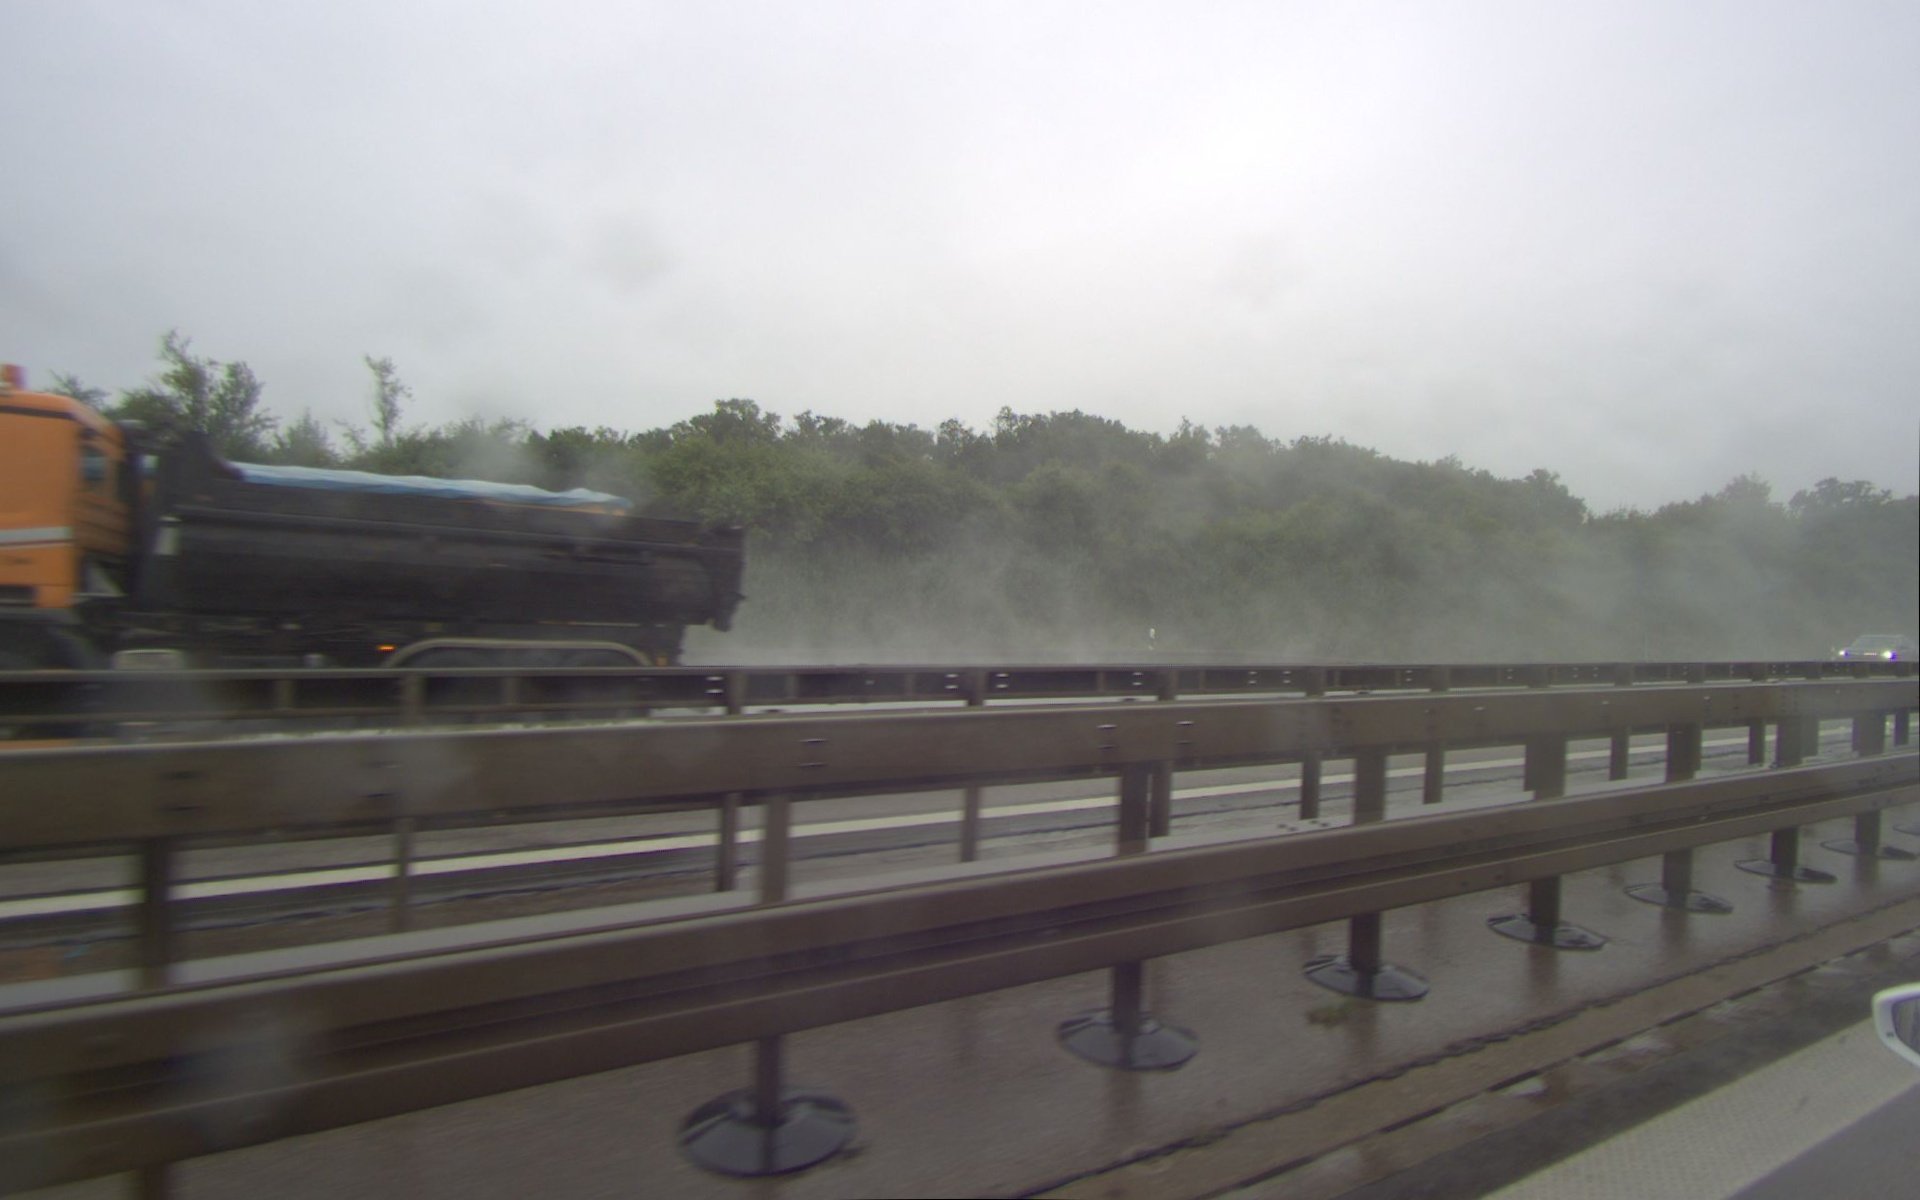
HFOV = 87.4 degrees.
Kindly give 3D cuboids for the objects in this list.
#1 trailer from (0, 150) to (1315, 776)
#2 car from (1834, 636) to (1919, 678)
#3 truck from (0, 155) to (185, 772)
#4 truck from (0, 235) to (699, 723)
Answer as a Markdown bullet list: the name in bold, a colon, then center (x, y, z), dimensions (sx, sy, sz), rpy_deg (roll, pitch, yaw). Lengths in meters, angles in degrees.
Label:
- **trailer**: center (-2.312, -0.788, 11.573), dimensions (14.504, 4.358, 3.515), rpy_deg (2, -1, -30)
- **car**: center (38.741, 2.376, 42.332), dimensions (3.951, 1.595, 1.616), rpy_deg (0, 1, -29)
- **truck**: center (-9.801, -1.002, 7.208), dimensions (6.145, 4.297, 3.507), rpy_deg (2, -1, -30)
- **truck**: center (-12.397, -1.280, 11.279), dimensions (18.010, 5.111, 3.700), rpy_deg (1, -1, -30)
